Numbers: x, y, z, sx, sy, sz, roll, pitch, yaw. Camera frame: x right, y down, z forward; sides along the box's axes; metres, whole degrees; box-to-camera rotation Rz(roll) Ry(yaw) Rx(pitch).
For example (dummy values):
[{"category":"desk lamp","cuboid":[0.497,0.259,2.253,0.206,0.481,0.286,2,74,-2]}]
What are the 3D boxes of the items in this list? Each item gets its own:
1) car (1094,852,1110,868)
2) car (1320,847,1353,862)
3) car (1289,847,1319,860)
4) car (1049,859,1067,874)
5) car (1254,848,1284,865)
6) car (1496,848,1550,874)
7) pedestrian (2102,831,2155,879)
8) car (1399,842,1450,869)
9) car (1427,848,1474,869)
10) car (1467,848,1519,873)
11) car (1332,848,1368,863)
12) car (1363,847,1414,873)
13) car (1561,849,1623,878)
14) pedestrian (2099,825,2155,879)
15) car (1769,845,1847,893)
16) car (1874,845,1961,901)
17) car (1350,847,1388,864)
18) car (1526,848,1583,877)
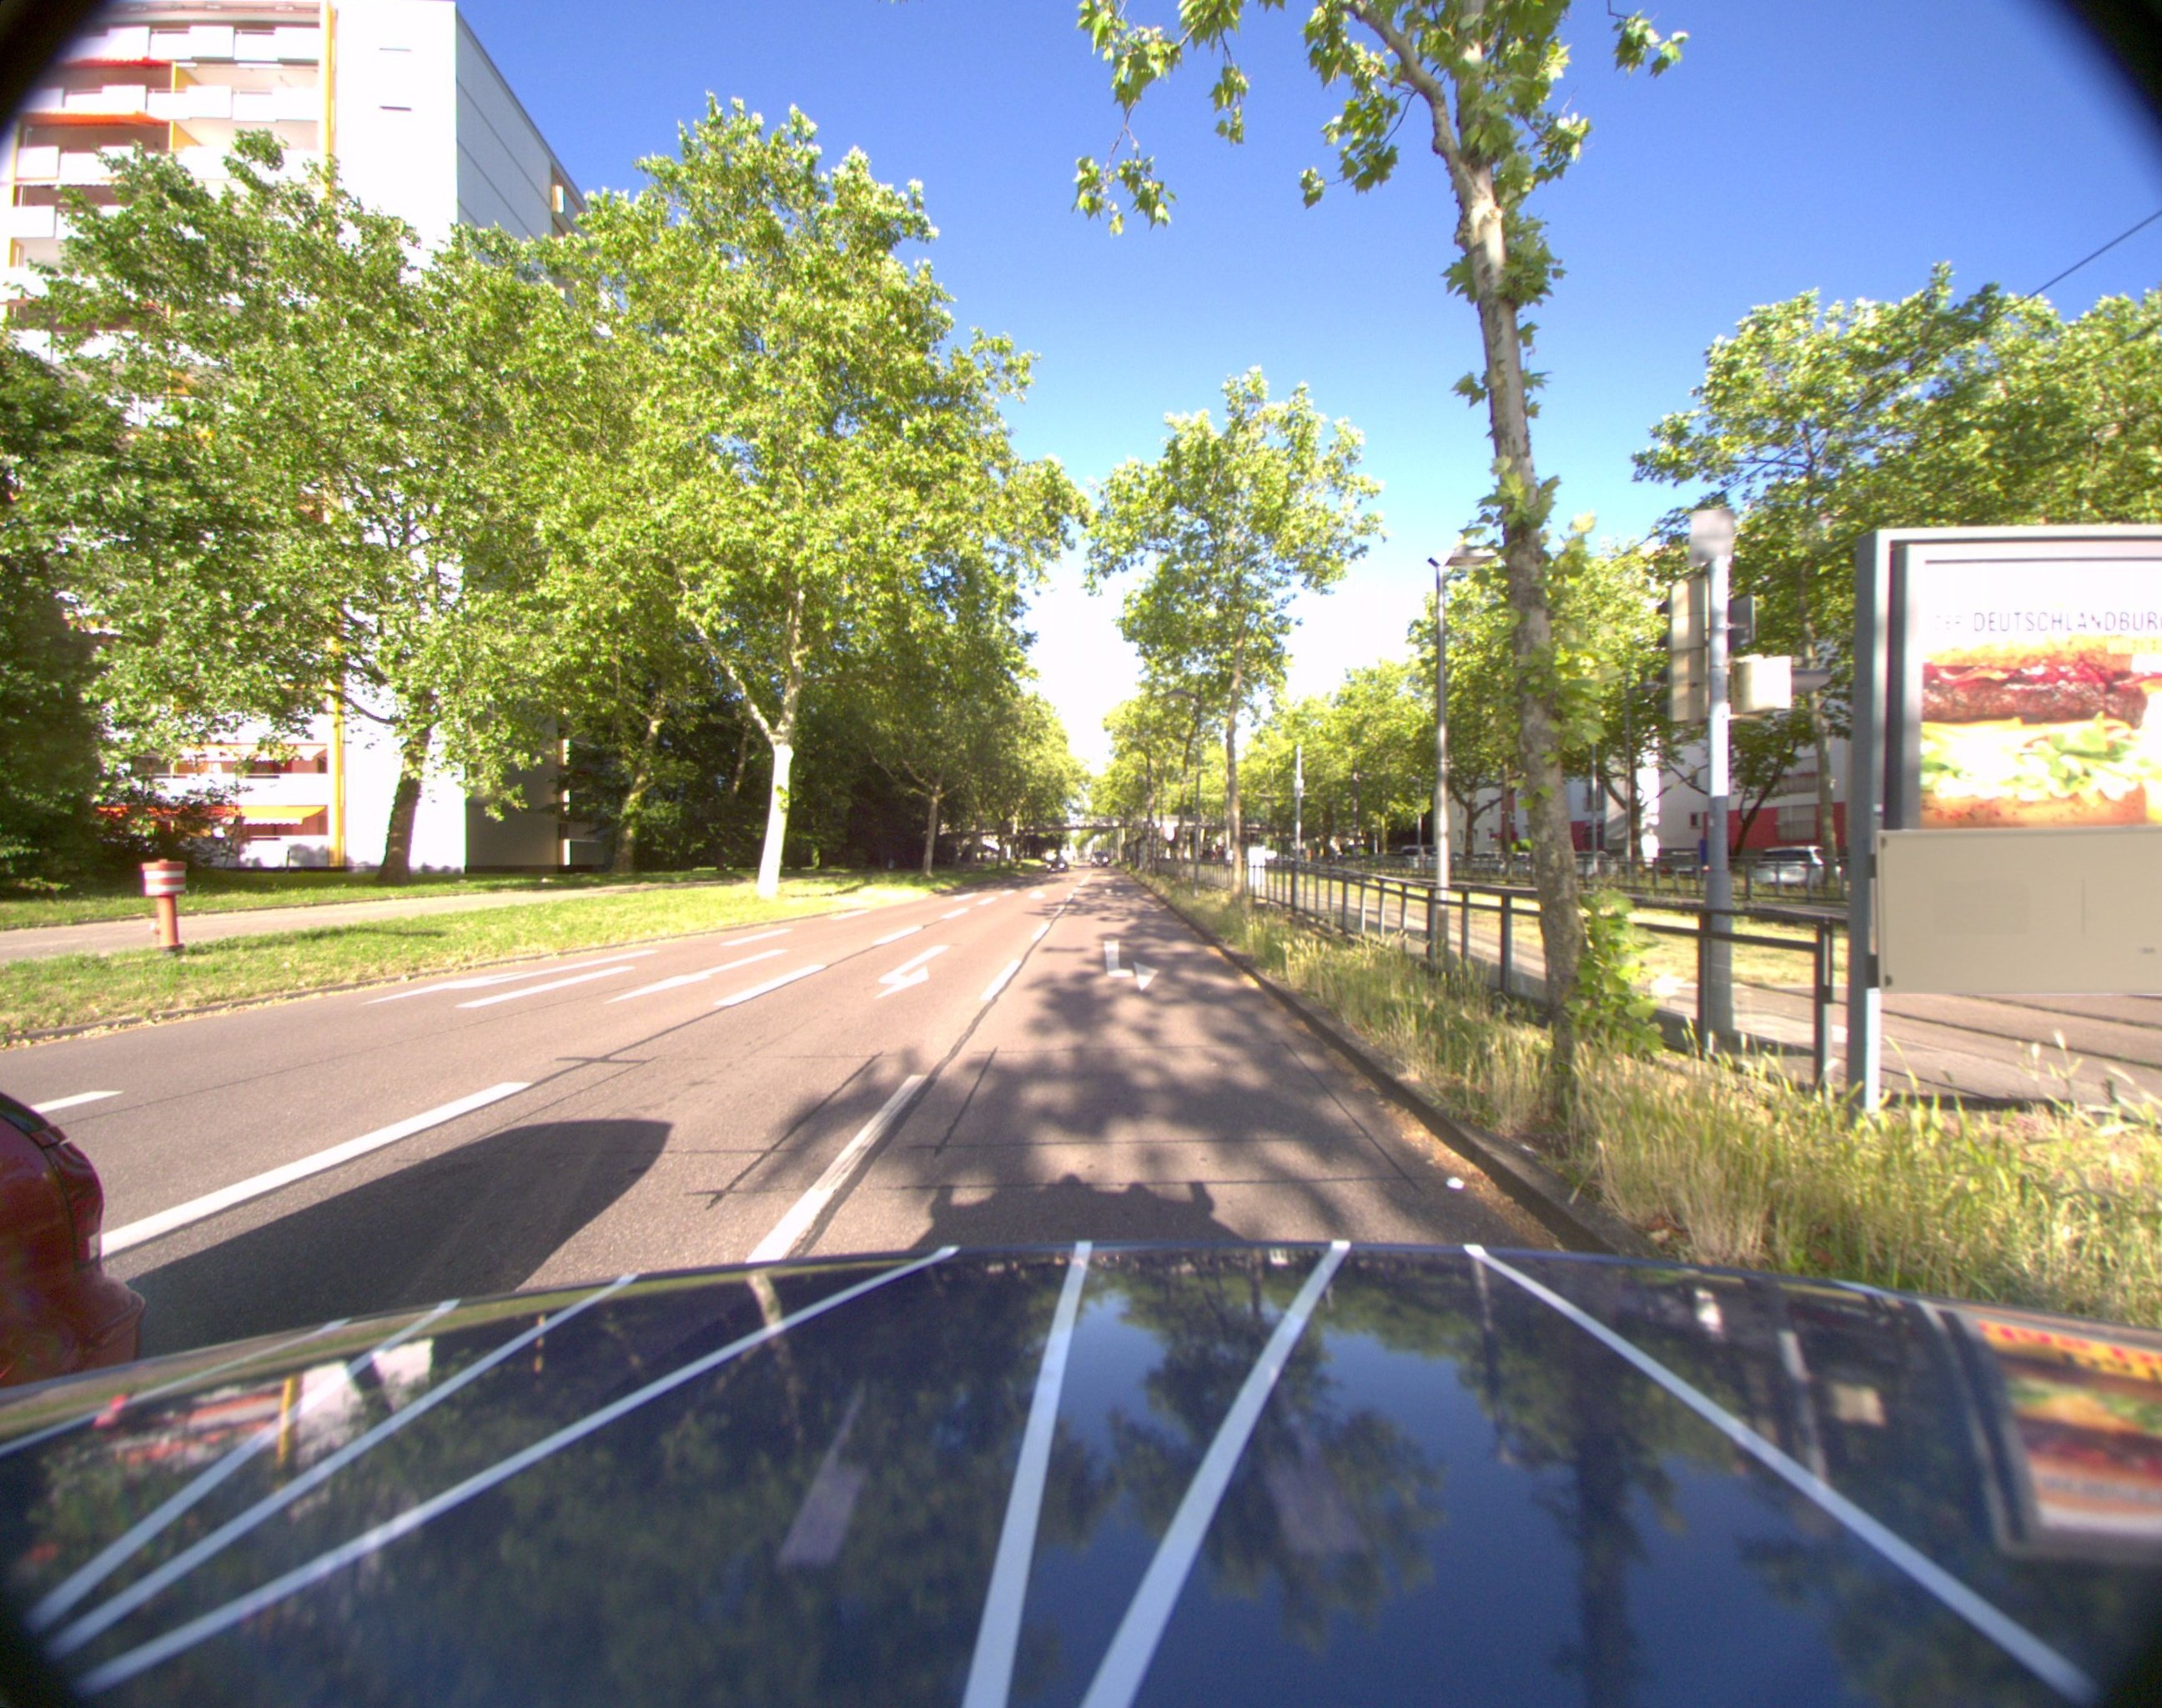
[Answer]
[{"category":"car","cuboid":[2.737,0.786,98.542,1.906,1.924,4.720,-2,0,2]},{"category":"car","cuboid":[26.790,0.053,79.613,3.811,1.433,1.652,-2,0,-42]},{"category":"car","cuboid":[26.442,-0.040,89.963,3.811,1.433,1.652,-2,0,-42]},{"category":"car","cuboid":[-2.157,1.171,72.299,1.580,1.395,3.638,-2,0,0]},{"category":"car","cuboid":[21.213,0.296,86.071,1.832,1.811,4.900,-2,0,-4]},{"category":"car","cuboid":[26.103,0.412,44.852,3.811,1.433,1.652,-2,0,-42]},{"category":"pedestrian","cuboid":[36.524,0.022,26.513,0.764,1.614,0.786,-2,1,-1]},{"category":"car","cuboid":[25.823,0.095,57.018,4.330,1.863,1.836,-2,0,-42]},{"category":"car","cuboid":[26.307,0.316,54.020,3.811,1.433,1.652,-2,0,-42]},{"category":"car","cuboid":[25.856,0.402,47.667,3.811,1.433,1.652,-2,0,-42]},{"category":"car","cuboid":[26.070,0.140,73.553,3.811,1.433,1.652,-2,0,-42]},{"category":"car","cuboid":[20.422,0.365,50.631,1.655,1.609,4.294,-2,0,1]},{"category":"car","cuboid":[25.388,0.452,37.686,3.811,1.348,1.652,-2,0,-42]},{"category":"pedestrian","cuboid":[34.253,-0.070,24.891,0.764,1.723,0.786,-2,1,-1]},{"category":"car","cuboid":[25.363,0.493,26.463,3.811,1.501,1.652,-2,0,-42]},{"category":"car","cuboid":[25.250,0.527,22.954,3.811,1.501,1.652,-2,0,-42]},{"category":"car","cuboid":[26.623,0.142,70.122,3.811,1.433,1.652,-2,0,-42]},{"category":"car","cuboid":[25.868,0.448,41.467,3.811,1.433,1.652,-2,0,-42]}]
